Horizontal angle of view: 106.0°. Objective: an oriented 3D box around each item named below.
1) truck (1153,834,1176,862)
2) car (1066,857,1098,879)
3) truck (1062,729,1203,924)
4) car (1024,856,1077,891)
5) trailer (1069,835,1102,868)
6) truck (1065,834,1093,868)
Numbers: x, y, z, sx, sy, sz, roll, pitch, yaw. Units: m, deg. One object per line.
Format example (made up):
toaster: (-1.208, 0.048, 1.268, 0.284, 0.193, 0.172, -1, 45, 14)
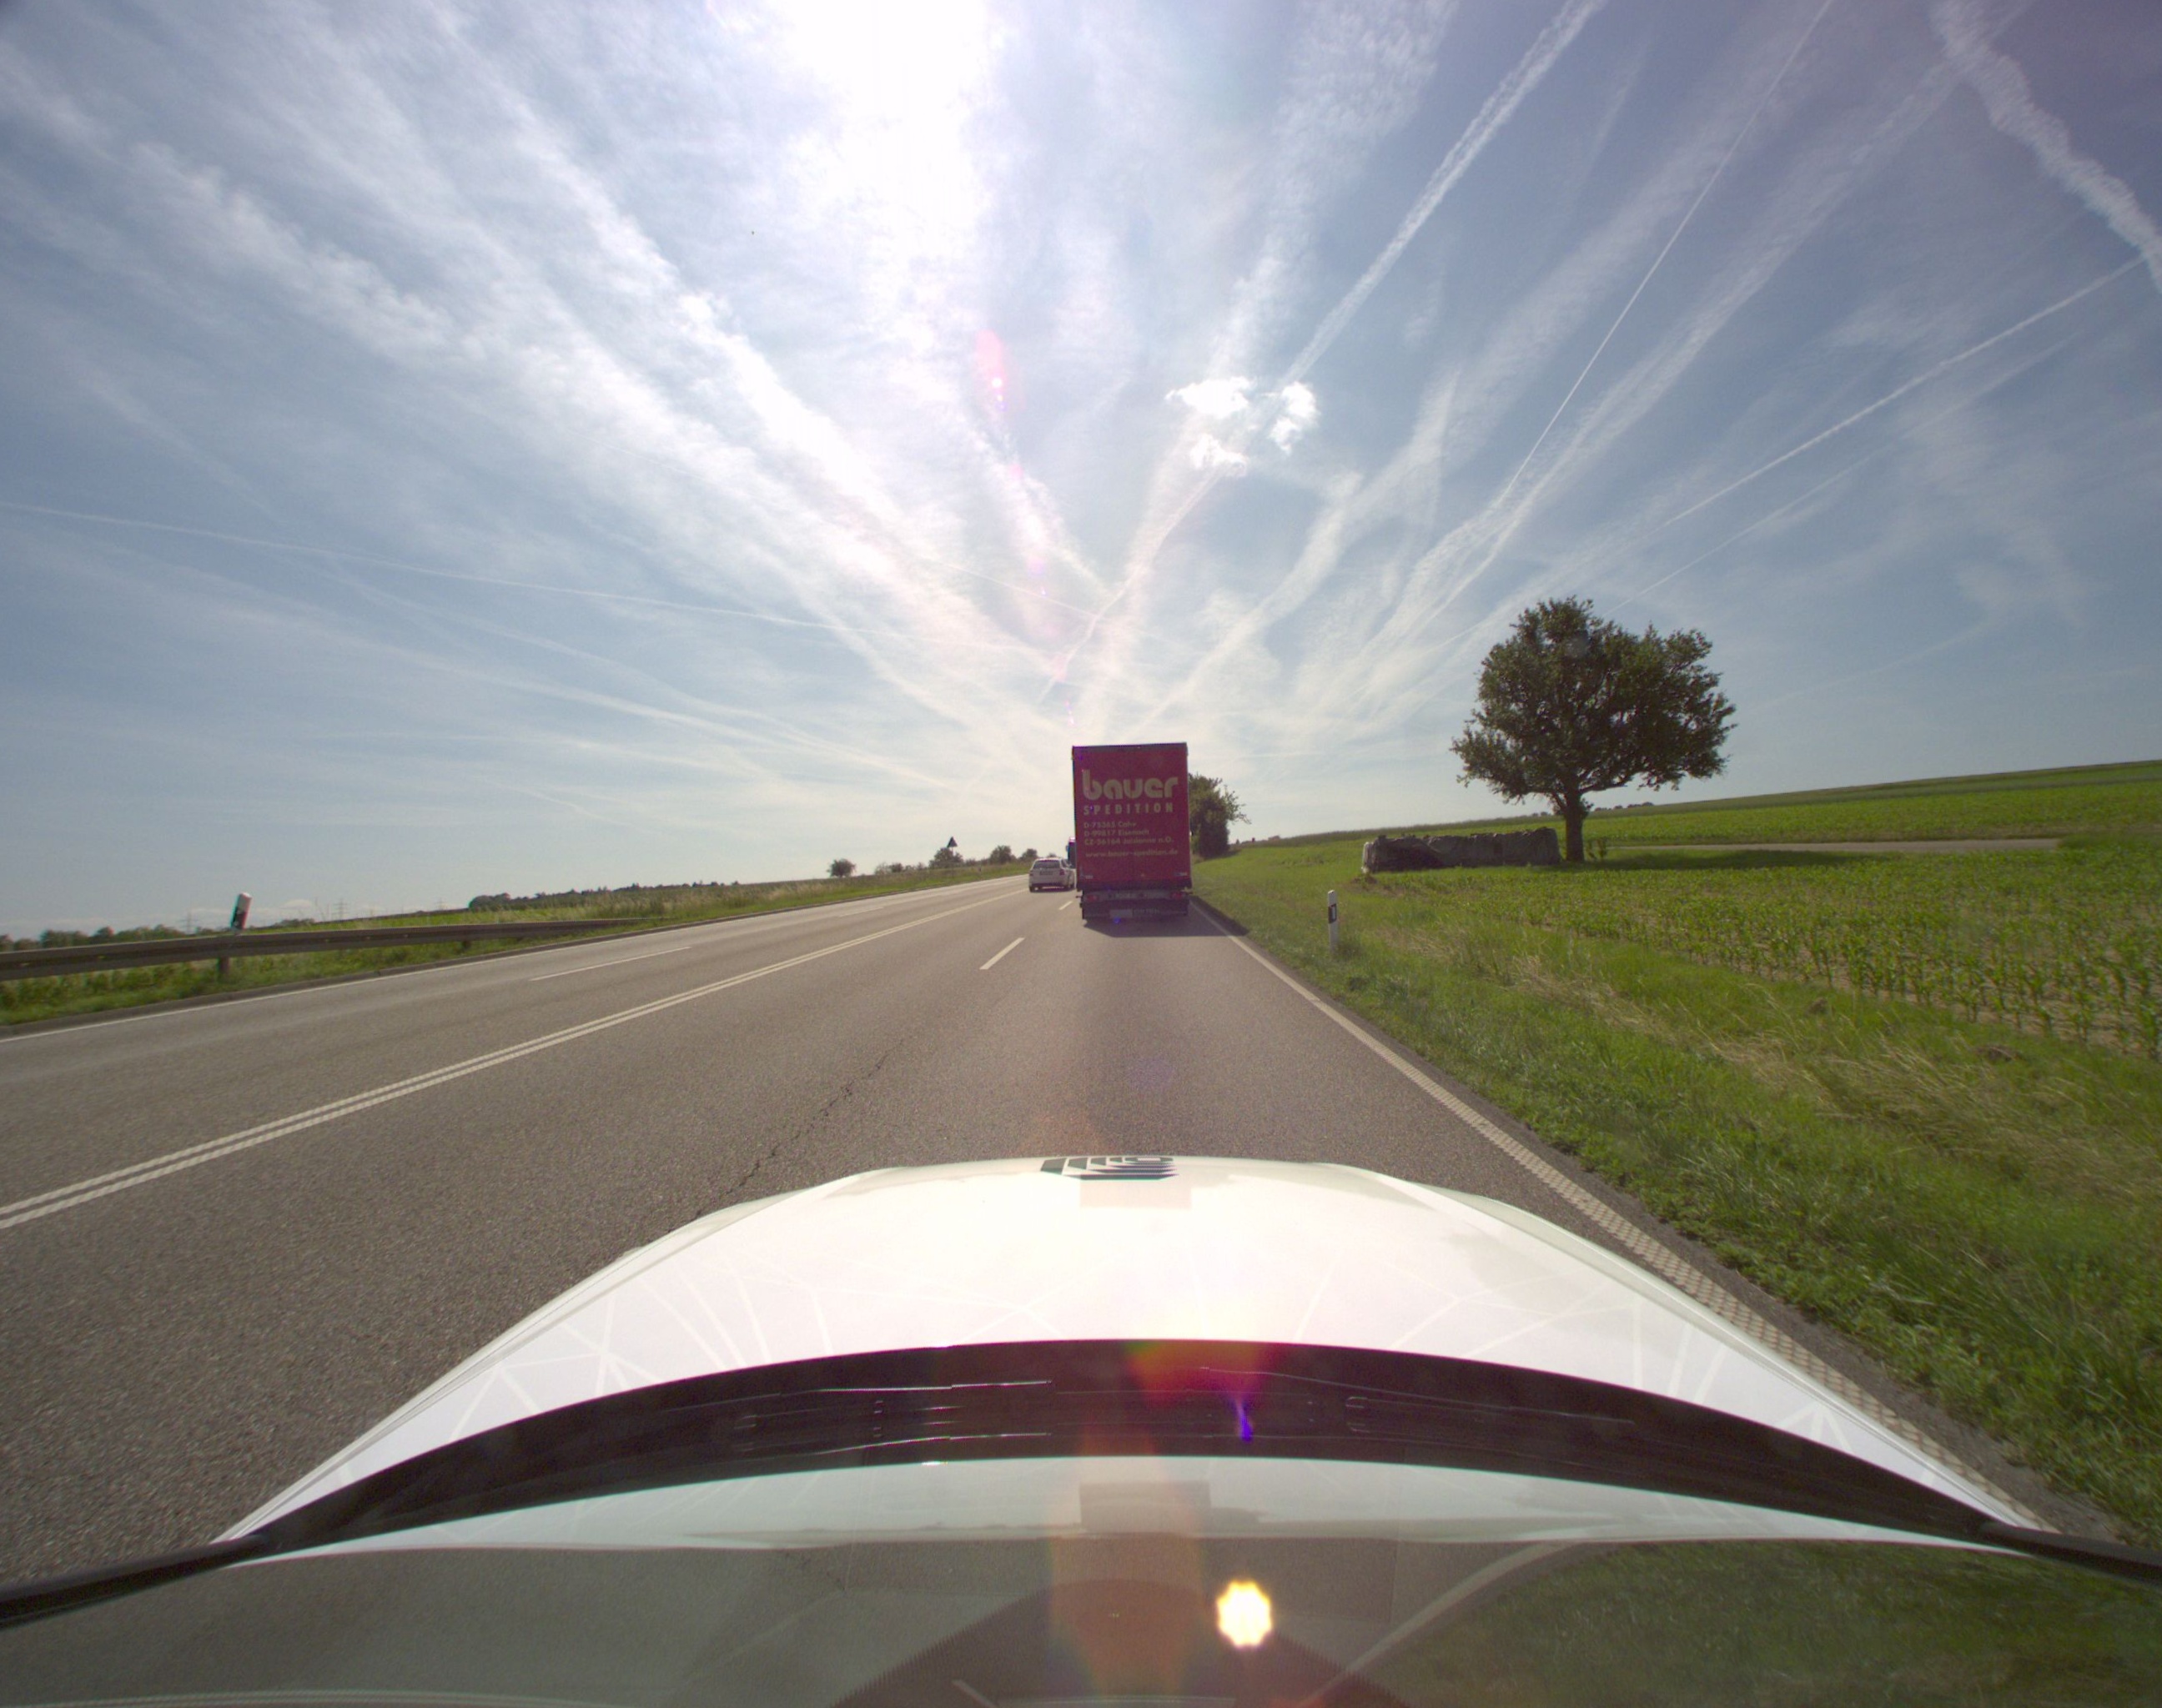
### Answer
truck: (13.154, -0.830, 127.261, 3.031, 3.910, 18.433, -2, 0, 7)
car: (0.139, 0.927, 55.910, 1.696, 1.472, 4.819, -1, 0, 6)
truck: (1.683, -0.545, 25.987, 2.994, 4.180, 16.731, -1, 0, 4)
car: (-1.332, 0.835, 37.126, 1.812, 1.472, 4.795, -1, 0, 5)
trailer: (0.759, -0.384, 112.215, 2.531, 4.101, 13.612, -3, 0, 8)
truck: (-0.165, -0.414, 105.634, 2.602, 4.101, 6.102, -3, 0, 8)
